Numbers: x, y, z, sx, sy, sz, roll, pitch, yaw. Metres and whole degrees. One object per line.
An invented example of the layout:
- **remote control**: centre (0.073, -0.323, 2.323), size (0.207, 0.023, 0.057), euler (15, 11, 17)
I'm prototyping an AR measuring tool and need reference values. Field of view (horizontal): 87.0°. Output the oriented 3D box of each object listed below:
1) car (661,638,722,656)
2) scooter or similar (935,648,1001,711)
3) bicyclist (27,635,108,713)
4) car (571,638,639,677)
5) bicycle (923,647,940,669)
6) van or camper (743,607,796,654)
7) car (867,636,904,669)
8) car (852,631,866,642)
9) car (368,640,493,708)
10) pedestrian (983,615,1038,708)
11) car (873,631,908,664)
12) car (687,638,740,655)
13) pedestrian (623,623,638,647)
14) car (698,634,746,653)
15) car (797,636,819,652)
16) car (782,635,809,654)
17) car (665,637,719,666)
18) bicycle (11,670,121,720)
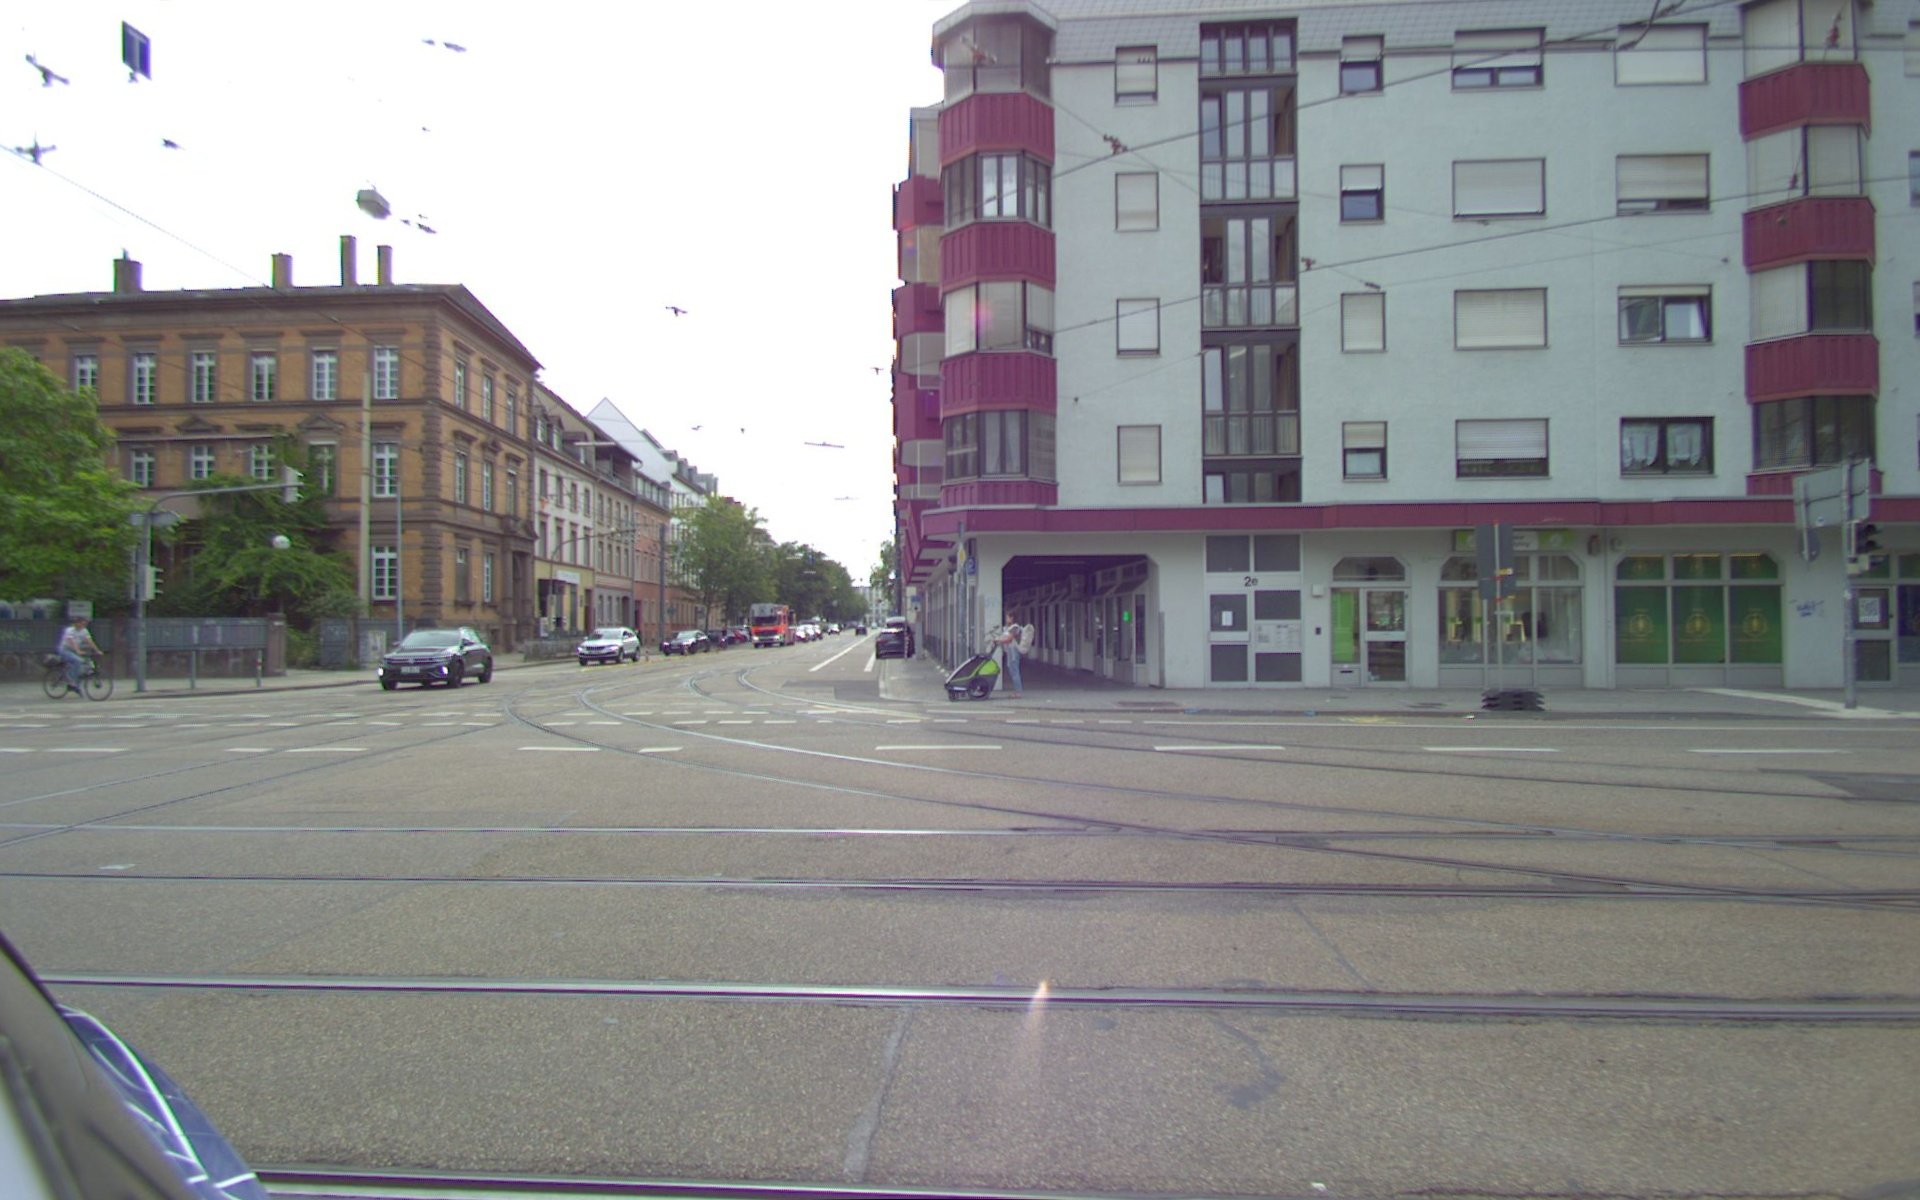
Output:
- **car**: centre (-21.814, 3.819, 82.227), size (4.548, 1.484, 1.795), euler (2, -3, -26)
- **scooter or similar**: centre (0.139, 1.532, 19.690), size (1.181, 1.137, 0.947), euler (-2, -2, -4)
- **bicyclist**: centre (-20.827, 1.709, 23.635), size (1.236, 1.774, 0.747), euler (-1, -2, 3)
- **car**: centre (-15.892, 2.537, 45.510), size (1.748, 1.603, 4.284), euler (-2, -2, -3)
- **bicycle**: centre (-1.363, 2.768, 48.452), size (0.557, 0.960, 1.653), euler (0, -2, -10)
- **van or camper**: centre (-14.670, 2.375, 78.589), size (2.571, 3.447, 9.655), euler (-1, -2, -2)
- **car**: centre (-3.728, 2.595, 51.160), size (1.734, 1.491, 4.701), euler (-3, -2, -3)
- **car**: centre (-14.763, 5.358, 147.507), size (1.749, 1.549, 4.050), euler (-2, -2, -2)
- **car**: centre (-13.791, 1.863, 26.629), size (1.746, 1.559, 4.291), euler (-2, -2, -11)
- **pedestrian**: centre (0.980, 1.194, 19.779), size (0.936, 1.757, 0.813), euler (-1, -2, -5)
- **car**: centre (-3.884, 2.635, 56.964), size (1.786, 1.660, 4.701), euler (-3, -2, -3)
- **car**: centre (-21.765, 4.116, 89.350), size (4.270, 1.491, 1.795), euler (2, -3, -26)
- **pedestrian**: centre (-23.450, 2.486, 72.116), size (0.722, 1.701, 0.927), euler (3, -2, -3)
- **car**: centre (-22.699, 4.164, 96.540), size (4.166, 1.711, 1.745), euler (2, -3, -26)
- **car**: centre (-15.143, 4.354, 101.144), size (1.883, 1.498, 4.003), euler (-1, -2, -4)
- **car**: centre (-14.870, 4.012, 91.608), size (1.971, 1.721, 4.054), euler (-1, -2, -2)
- **car**: centre (-15.548, 2.953, 58.845), size (1.752, 1.546, 4.043), euler (-2, -2, 5)
- **bicycle**: centre (-20.833, 2.200, 23.607), size (1.990, 1.095, 0.750), euler (-1, -2, 4)
